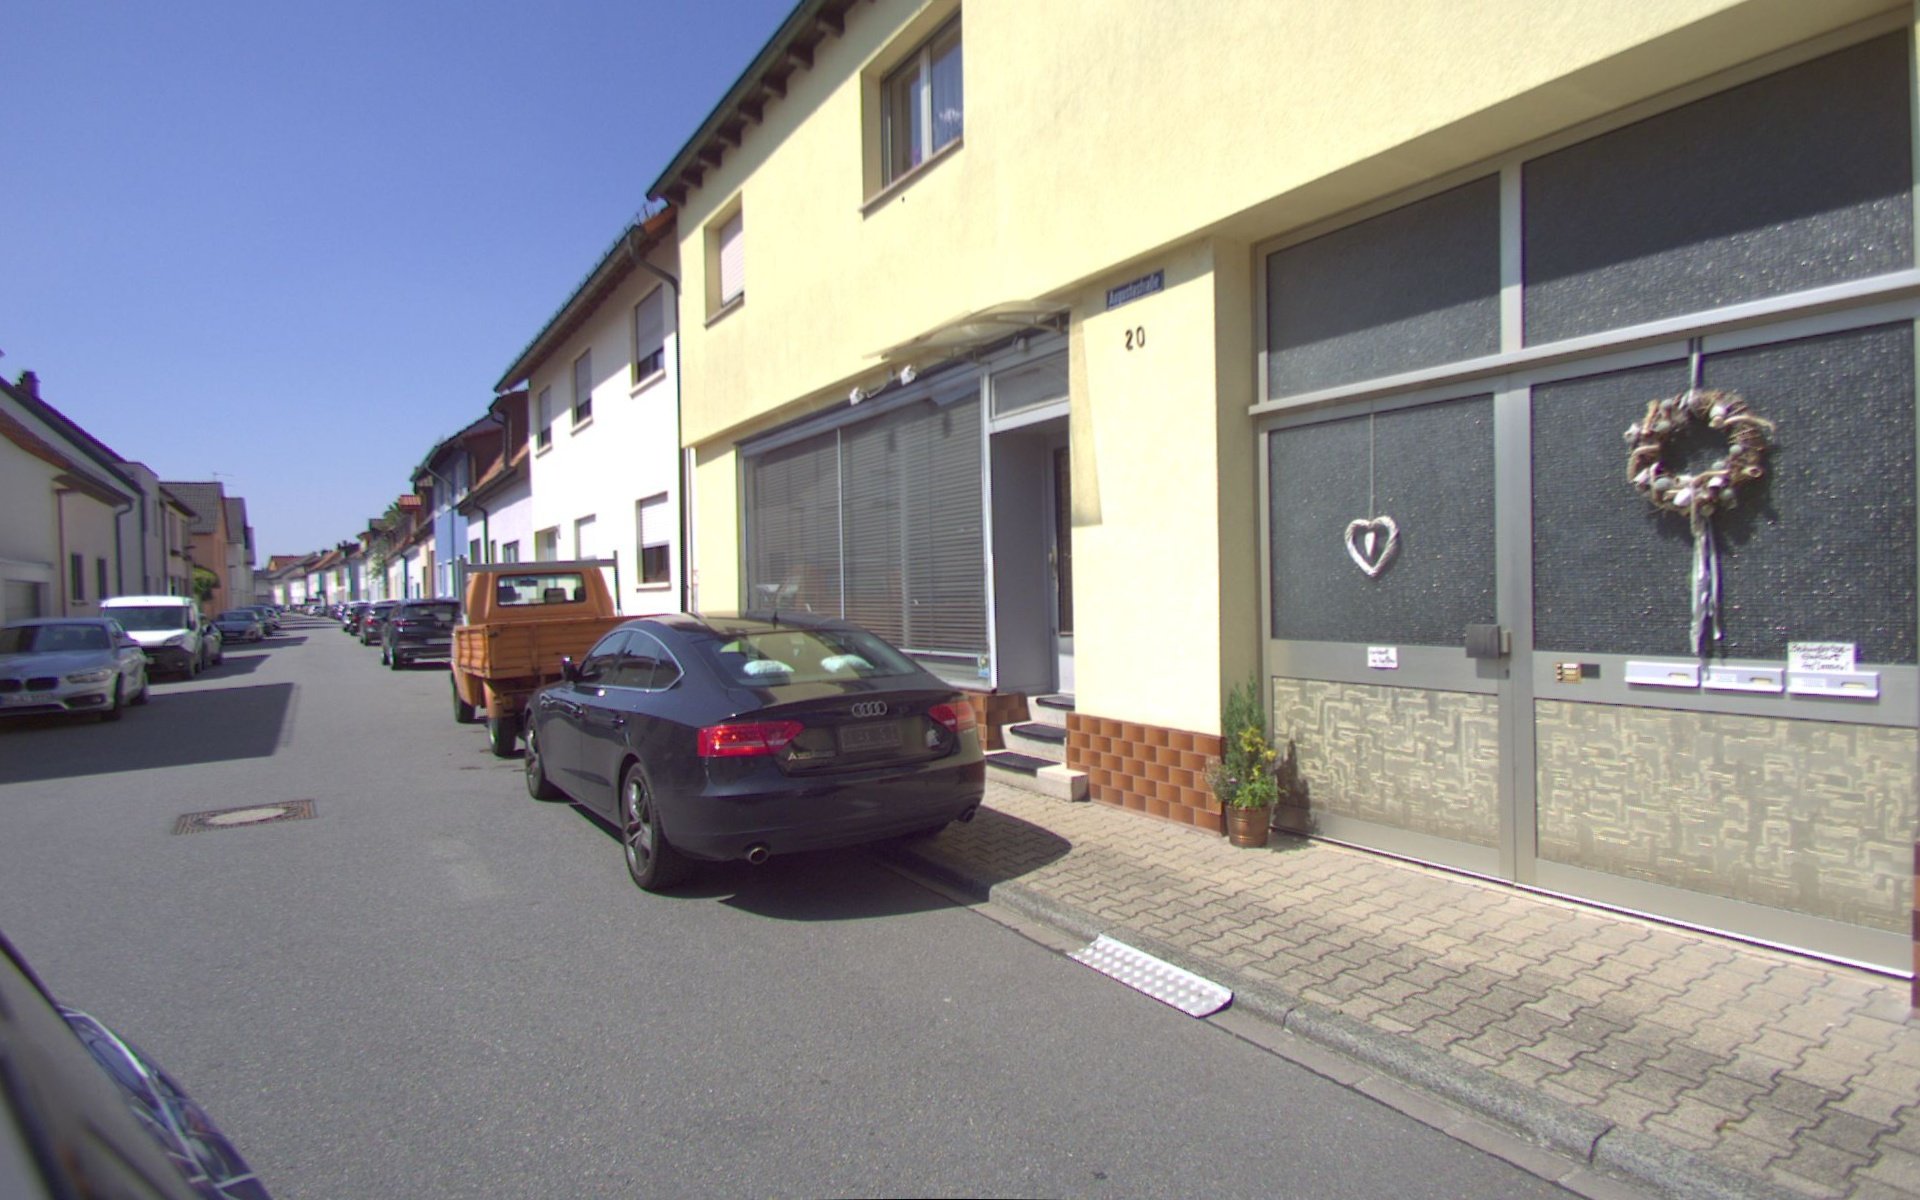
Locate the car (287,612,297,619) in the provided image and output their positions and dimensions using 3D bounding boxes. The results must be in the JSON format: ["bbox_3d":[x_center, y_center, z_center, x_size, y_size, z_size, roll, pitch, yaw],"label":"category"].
[{"bbox_3d":[-118.631,2.674,179.747,1.274,1.193,2.972,-1,0,-32],"label":"car"}]

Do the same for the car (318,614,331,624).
[{"bbox_3d":[-78.383,2.287,124.791,1.274,1.193,2.972,-1,0,-32],"label":"car"}]

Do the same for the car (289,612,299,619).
[{"bbox_3d":[-112.223,2.587,170.602,1.274,1.193,2.972,-1,0,-32],"label":"car"}]

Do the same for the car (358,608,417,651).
[{"bbox_3d":[-22.013,1.094,38.838,1.696,1.513,4.226,-1,0,-33],"label":"car"}]

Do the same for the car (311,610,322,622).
[{"bbox_3d":[-93.111,2.263,146.507,1.275,1.706,2.971,-1,0,-34],"label":"car"}]

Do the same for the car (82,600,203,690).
[{"bbox_3d":[-17.583,0.912,21.916,1.657,1.742,3.797,-1,0,-34],"label":"car"}]

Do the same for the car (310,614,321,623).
[{"bbox_3d":[-88.220,2.519,138.532,1.274,1.193,2.972,-1,0,-32],"label":"car"}]

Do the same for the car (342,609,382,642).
[{"bbox_3d":[-31.276,1.289,52.883,1.650,1.586,4.120,0,0,-33],"label":"car"}]

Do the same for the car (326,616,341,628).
[{"bbox_3d":[-65.574,2.285,105.867,1.274,1.193,2.972,-1,0,-32],"label":"car"}]

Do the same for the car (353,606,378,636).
[{"bbox_3d":[-38.580,1.341,65.659,1.274,1.845,2.972,-1,0,-32],"label":"car"}]

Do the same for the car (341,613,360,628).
[{"bbox_3d":[-50.512,1.681,83.823,1.274,1.193,2.972,-1,0,-32],"label":"car"}]

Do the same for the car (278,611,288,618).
[{"bbox_3d":[-125.334,2.704,187.380,1.276,1.193,2.968,-1,0,-40],"label":"car"}]

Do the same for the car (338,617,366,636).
[{"bbox_3d":[-35.187,1.521,58.550,1.274,1.084,2.772,-1,0,-32],"label":"car"}]

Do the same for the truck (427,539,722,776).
[{"bbox_3d":[-4.571,0.474,11.391,2.152,2.029,5.095,-1,1,-32],"label":"truck"}]

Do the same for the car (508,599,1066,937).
[{"bbox_3d":[-1.525,0.726,6.676,1.896,1.405,4.644,2,-1,-33],"label":"car"}]

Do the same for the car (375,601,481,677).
[{"bbox_3d":[-12.757,0.879,24.158,1.819,1.626,4.011,-1,0,-34],"label":"car"}]

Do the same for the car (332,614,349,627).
[{"bbox_3d":[-56.913,1.886,93.034,1.274,1.193,2.972,-1,0,-32],"label":"car"}]

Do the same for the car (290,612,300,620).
[{"bbox_3d":[-107.287,2.579,163.379,1.274,1.193,2.972,-1,0,-32],"label":"car"}]

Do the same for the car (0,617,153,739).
[{"bbox_3d":[-12.708,1.010,14.254,1.612,1.378,3.939,-3,2,-32],"label":"car"}]

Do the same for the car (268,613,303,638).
[{"bbox_3d":[-44.141,1.661,66.270,1.819,1.543,3.558,-1,0,-34],"label":"car"}]

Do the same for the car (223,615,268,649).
[{"bbox_3d":[-31.881,1.406,45.220,1.497,1.436,3.874,-1,0,-34],"label":"car"}]

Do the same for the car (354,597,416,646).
[{"bbox_3d":[-26.115,0.919,45.922,1.967,2.029,4.010,-1,1,-36],"label":"car"}]
